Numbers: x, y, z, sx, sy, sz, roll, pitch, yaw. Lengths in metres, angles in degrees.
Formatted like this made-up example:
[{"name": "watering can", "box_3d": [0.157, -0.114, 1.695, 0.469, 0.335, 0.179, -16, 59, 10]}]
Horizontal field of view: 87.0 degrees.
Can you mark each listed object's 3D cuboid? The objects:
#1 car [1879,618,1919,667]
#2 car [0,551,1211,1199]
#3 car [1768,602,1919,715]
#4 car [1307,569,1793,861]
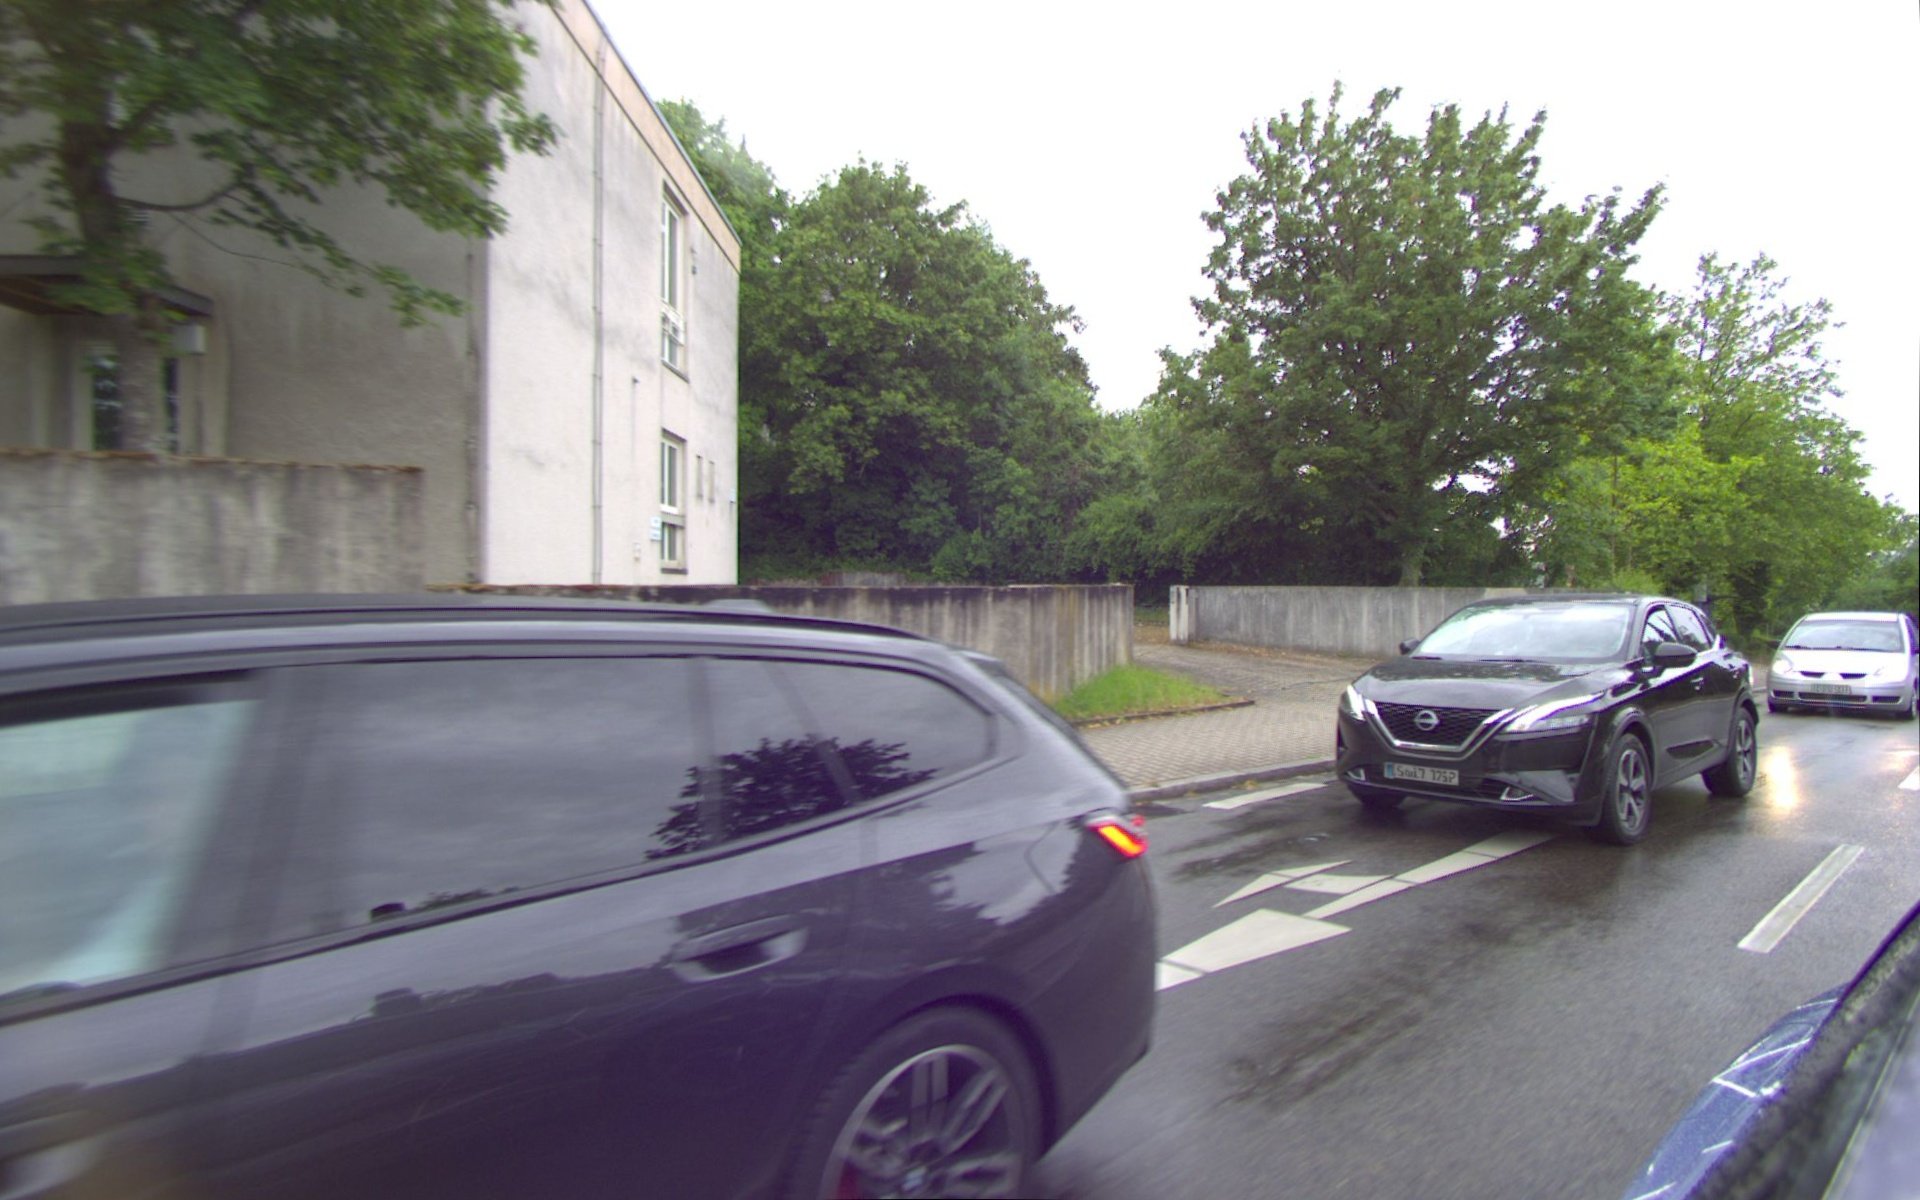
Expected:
[{"name": "car", "box_3d": [37.382, 1.698, 39.395, 3.931, 1.724, 2.032, 6, -6, -43]}, {"name": "car", "box_3d": [-1.752, 0.665, 1.667, 4.696, 1.477, 1.908, 0, 1, -42]}, {"name": "car", "box_3d": [14.087, 0.813, 15.603, 3.926, 1.524, 1.640, 1, -1, -37]}, {"name": "car", "box_3d": [4.606, 0.654, 7.663, 4.175, 1.624, 1.794, 0, -1, -38]}]
